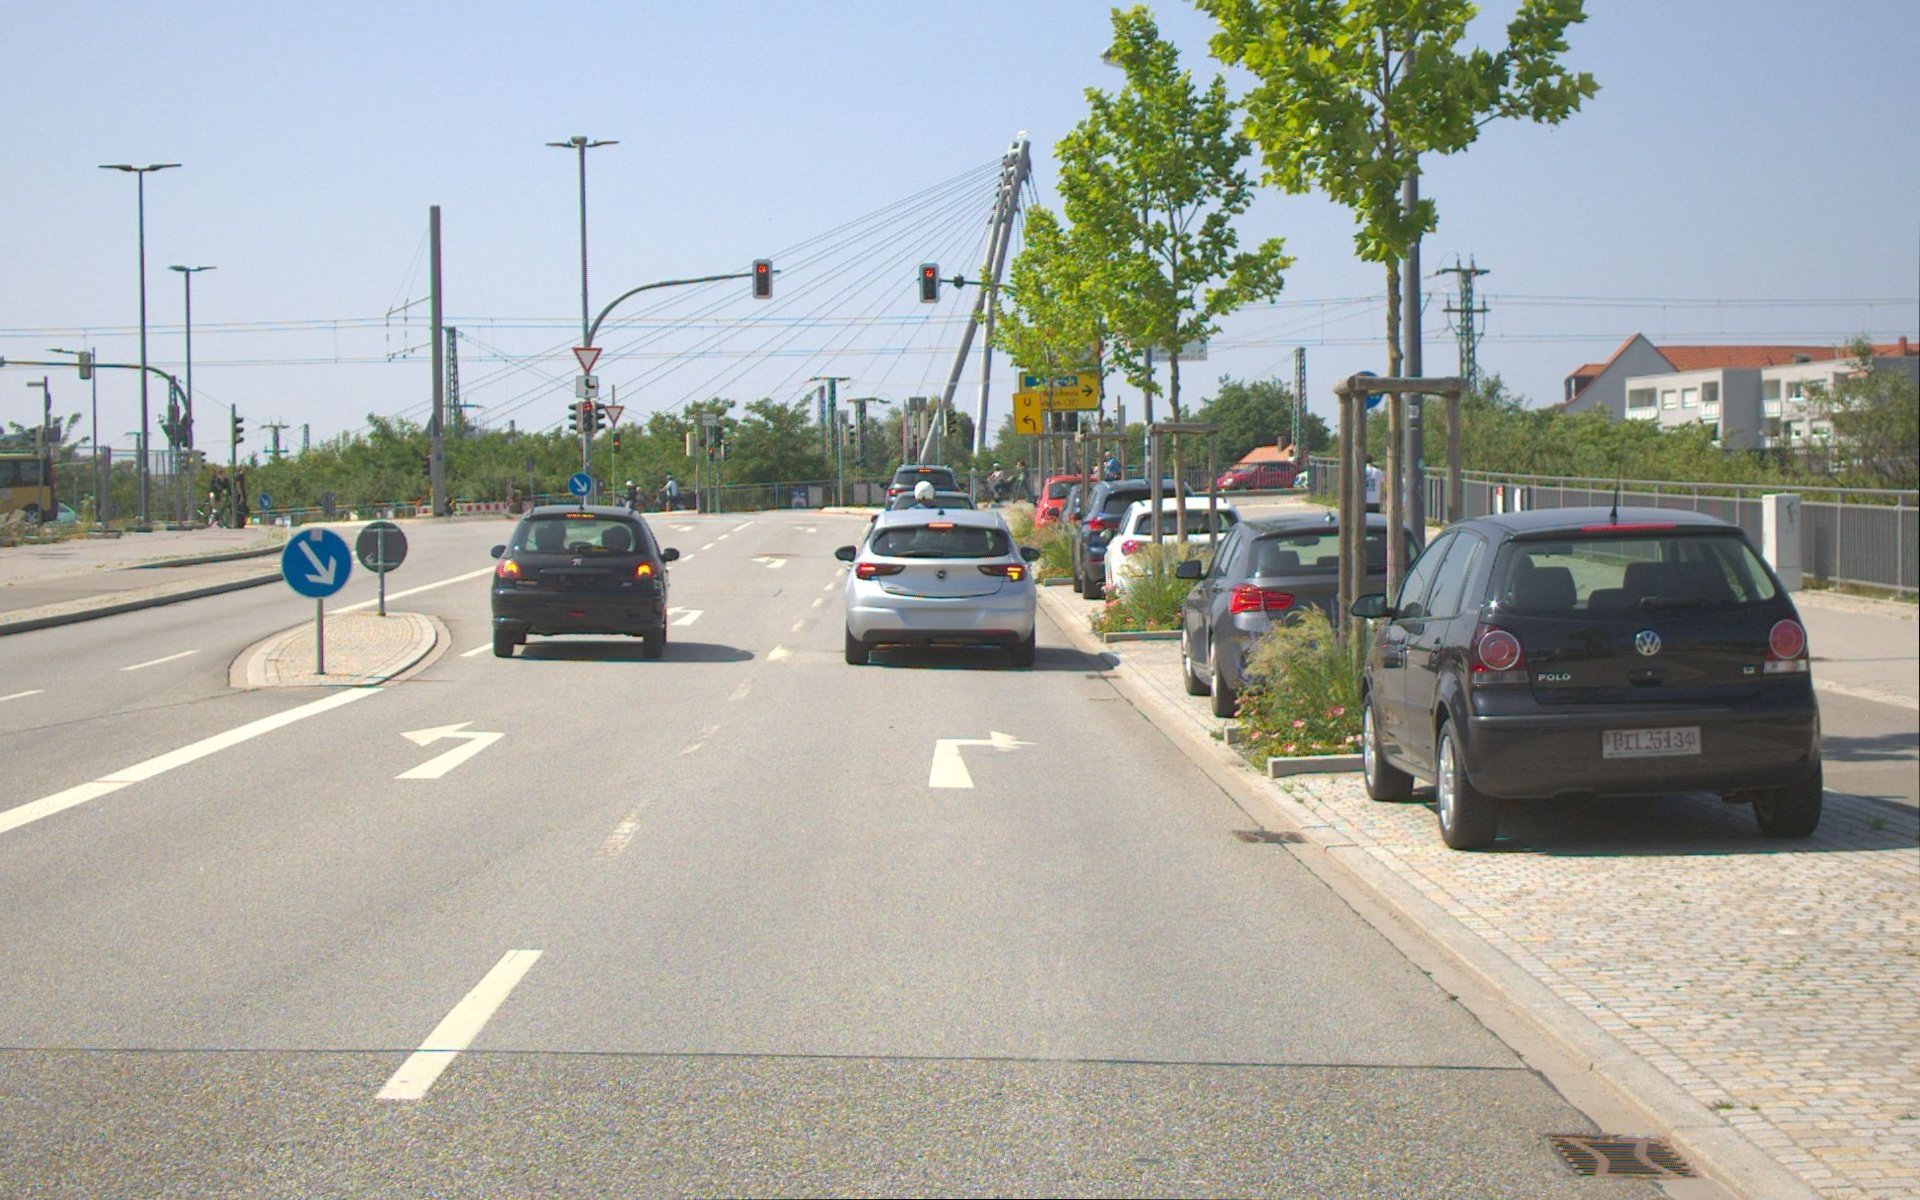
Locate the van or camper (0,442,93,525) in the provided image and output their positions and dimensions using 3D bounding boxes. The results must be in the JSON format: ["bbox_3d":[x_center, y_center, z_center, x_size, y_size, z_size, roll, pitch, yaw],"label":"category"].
[{"bbox_3d":[-23.442,-2.821,82.610,1.998,1.891,4.706,1,1,43],"label":"van or camper"}]

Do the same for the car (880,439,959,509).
[{"bbox_3d":[-0.928,-2.922,79.375,1.778,1.563,4.001,0,3,0],"label":"car"}]

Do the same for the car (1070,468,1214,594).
[{"bbox_3d":[2.502,-0.994,47.963,1.822,1.611,3.611,-2,2,1],"label":"car"}]

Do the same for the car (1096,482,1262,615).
[{"bbox_3d":[2.582,-0.660,41.308,1.696,1.470,4.206,-2,2,0],"label":"car"}]

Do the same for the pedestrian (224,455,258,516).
[{"bbox_3d":[-19.652,-3.130,93.978,0.844,1.641,0.828,0,2,-5],"label":"pedestrian"}]

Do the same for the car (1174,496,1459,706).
[{"bbox_3d":[2.596,-0.032,25.866,1.704,1.397,4.270,-2,1,1],"label":"car"}]

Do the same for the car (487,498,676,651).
[{"bbox_3d":[-3.662,-0.289,33.713,1.619,1.411,3.728,0,2,-3],"label":"car"}]

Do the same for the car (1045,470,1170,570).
[{"bbox_3d":[2.434,-1.361,57.575,1.778,1.498,4.001,-4,2,0],"label":"car"}]

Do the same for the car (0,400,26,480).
[{"bbox_3d":[-25.608,-4.021,85.914,1.998,2.006,3.991,2,2,39],"label":"car"}]

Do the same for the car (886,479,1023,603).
[{"bbox_3d":[-0.084,-0.836,46.848,1.778,1.563,4.001,0,3,0],"label":"car"}]

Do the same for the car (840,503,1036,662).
[{"bbox_3d":[-0.207,-0.215,33.215,1.778,1.437,4.000,0,2,0],"label":"car"}]

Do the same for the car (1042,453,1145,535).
[{"bbox_3d":[2.549,-2.055,66.288,1.778,1.498,4.001,-1,2,0],"label":"car"}]

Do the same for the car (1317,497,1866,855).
[{"bbox_3d":[2.876,0.300,16.500,1.704,1.457,3.954,-2,1,-3],"label":"car"}]

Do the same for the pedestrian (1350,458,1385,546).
[{"bbox_3d":[7.362,-1.767,62.118,0.533,1.570,0.524,1,0,0],"label":"pedestrian"}]
